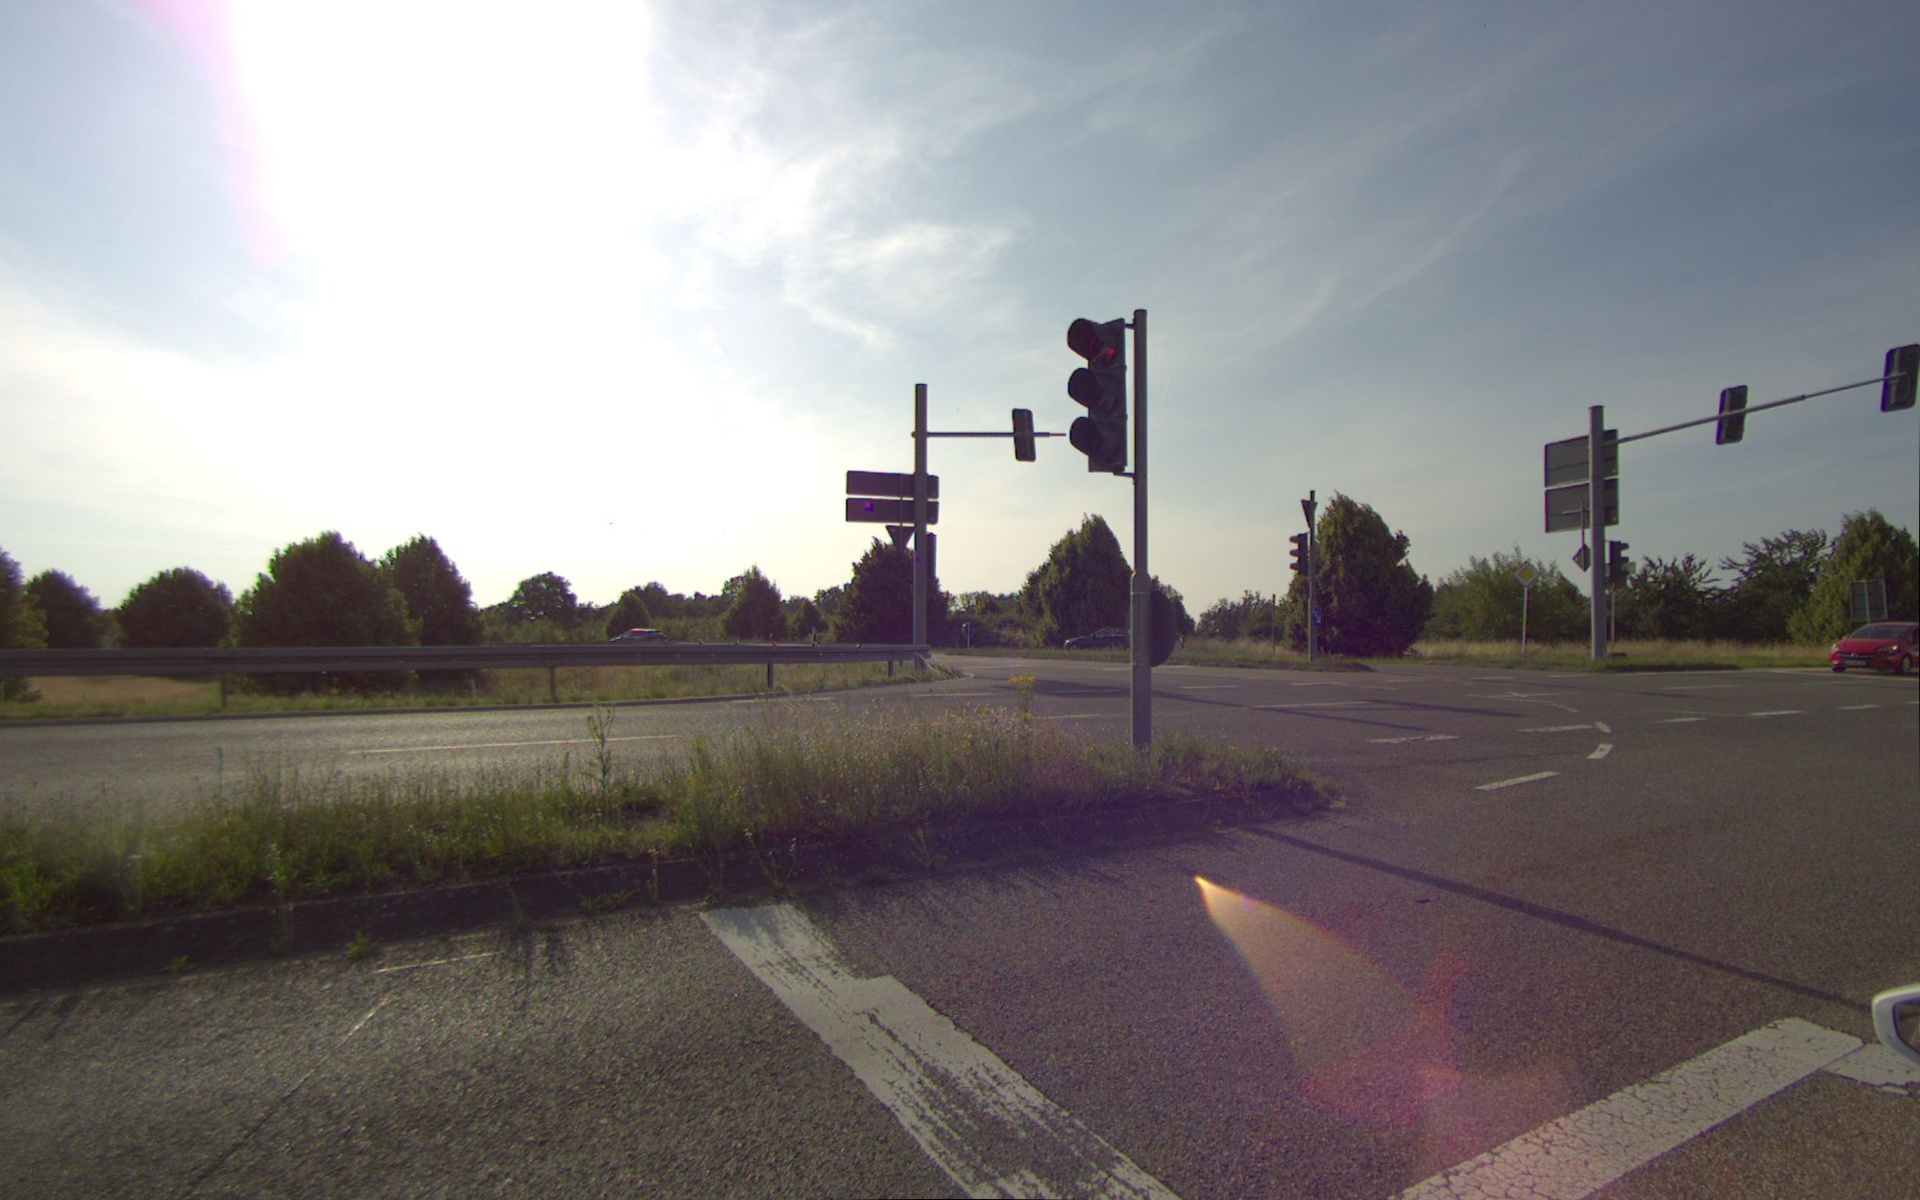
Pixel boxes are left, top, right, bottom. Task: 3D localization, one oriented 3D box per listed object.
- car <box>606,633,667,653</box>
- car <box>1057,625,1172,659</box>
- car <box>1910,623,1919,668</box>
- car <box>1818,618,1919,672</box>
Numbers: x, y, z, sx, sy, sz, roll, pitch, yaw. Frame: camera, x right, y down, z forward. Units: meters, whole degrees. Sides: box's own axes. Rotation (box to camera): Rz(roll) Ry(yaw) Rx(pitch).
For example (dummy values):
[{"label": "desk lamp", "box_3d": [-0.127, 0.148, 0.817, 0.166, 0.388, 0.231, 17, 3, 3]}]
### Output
[{"label": "car", "box_3d": [-21.984, 2.905, 68.246, 4.595, 1.309, 1.437, 0, -2, 35]}, {"label": "car", "box_3d": [6.407, 1.742, 42.014, 4.598, 1.299, 1.717, -1, -2, 43]}, {"label": "car", "box_3d": [33.193, 1.519, 32.867, 3.997, 1.452, 1.780, 1, -1, -26]}, {"label": "car", "box_3d": [27.195, 1.293, 29.434, 3.752, 1.507, 1.716, 1, -1, -25]}]
